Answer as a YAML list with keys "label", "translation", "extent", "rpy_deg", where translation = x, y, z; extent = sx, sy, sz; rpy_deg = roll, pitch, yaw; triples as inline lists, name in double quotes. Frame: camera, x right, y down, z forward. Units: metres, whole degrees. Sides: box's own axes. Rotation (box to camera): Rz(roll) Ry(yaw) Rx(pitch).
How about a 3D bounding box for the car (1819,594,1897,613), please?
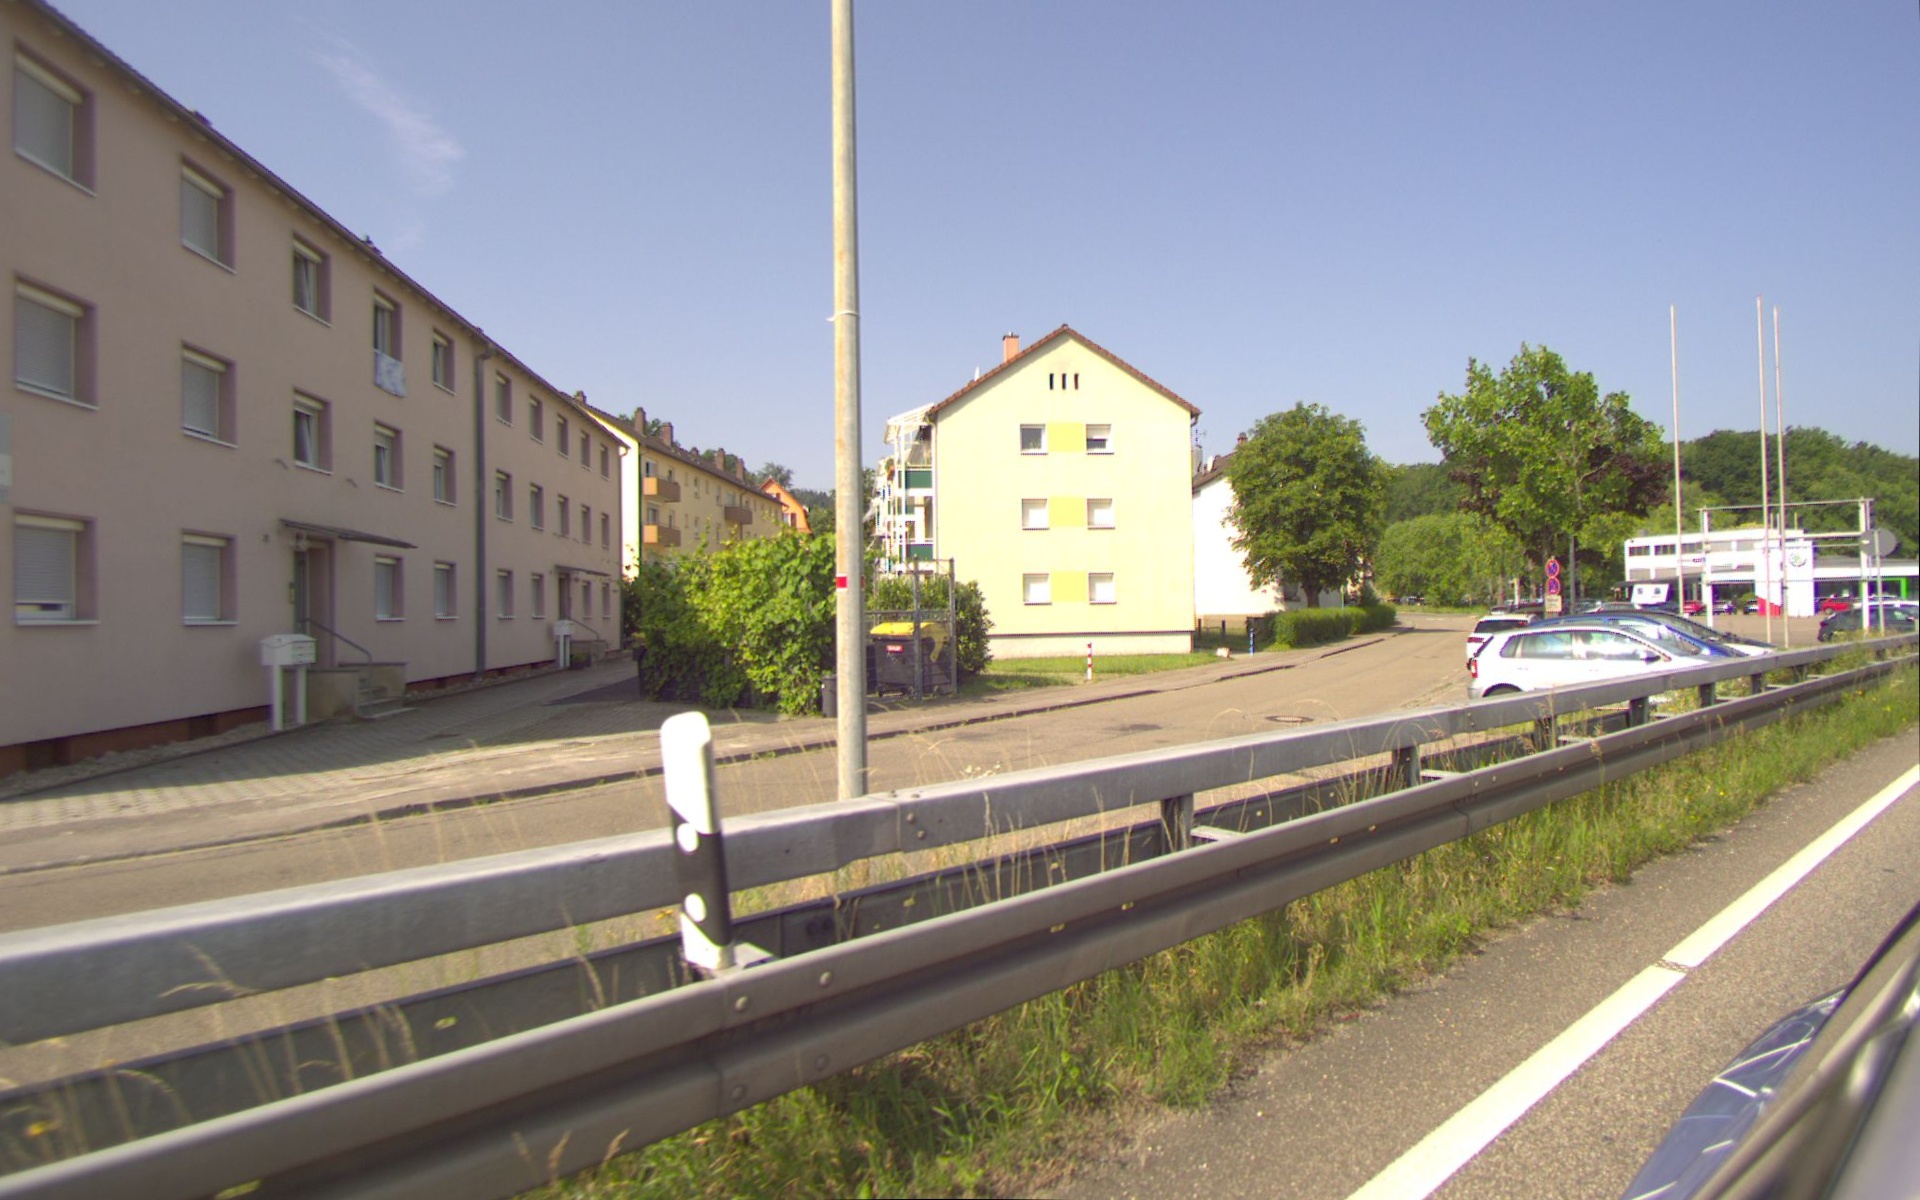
- label: "car"
  translation: [79.005, 0.278, 89.105]
  extent: [1.892, 1.584, 4.759]
  rpy_deg: [-1, 1, -28]

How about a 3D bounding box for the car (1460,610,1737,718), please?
- label: "car"
  translation: [9.411, 0.928, 15.023]
  extent: [3.258, 1.394, 1.527]
  rpy_deg: [-4, -1, 40]

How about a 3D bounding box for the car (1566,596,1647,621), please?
- label: "car"
  translation: [42.711, 0.549, 66.915]
  extent: [4.464, 1.620, 1.820]
  rpy_deg: [0, 0, 33]

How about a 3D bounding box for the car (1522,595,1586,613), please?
- label: "car"
  translation: [52.171, 0.348, 89.000]
  extent: [4.706, 1.477, 1.914]
  rpy_deg: [0, 1, 28]

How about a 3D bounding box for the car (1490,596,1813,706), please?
- label: "car"
  translation: [11.538, 0.895, 17.084]
  extent: [4.225, 1.593, 1.891]
  rpy_deg: [-5, -3, 40]

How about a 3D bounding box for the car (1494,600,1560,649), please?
- label: "car"
  translation: [18.535, 0.752, 32.991]
  extent: [1.696, 1.423, 4.434]
  rpy_deg: [0, 0, 31]

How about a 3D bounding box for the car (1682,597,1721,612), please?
- label: "car"
  translation: [80.875, 0.498, 110.383]
  extent: [4.522, 1.565, 2.004]
  rpy_deg: [-1, 1, -34]

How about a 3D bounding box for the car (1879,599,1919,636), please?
- label: "car"
  translation: [39.468, 0.699, 40.083]
  extent: [1.598, 1.462, 4.333]
  rpy_deg: [-1, 0, -36]

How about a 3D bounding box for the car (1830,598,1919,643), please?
- label: "car"
  translation: [32.964, 0.688, 34.830]
  extent: [1.845, 1.502, 4.165]
  rpy_deg: [-1, -1, -32]

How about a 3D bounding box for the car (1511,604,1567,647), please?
- label: "car"
  translation: [21.133, 0.899, 36.879]
  extent: [1.696, 1.423, 3.622]
  rpy_deg: [0, 0, 31]

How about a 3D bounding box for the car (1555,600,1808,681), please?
- label: "car"
  translation: [14.508, 0.750, 20.562]
  extent: [4.046, 1.470, 1.706]
  rpy_deg: [0, 0, 37]

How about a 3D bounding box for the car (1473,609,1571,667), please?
- label: "car"
  translation: [15.344, 0.962, 27.518]
  extent: [1.778, 1.438, 4.380]
  rpy_deg: [0, 0, 36]

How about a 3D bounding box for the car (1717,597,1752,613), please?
- label: "car"
  translation: [82.484, 0.511, 107.793]
  extent: [4.528, 1.565, 2.001]
  rpy_deg: [-1, 1, -39]

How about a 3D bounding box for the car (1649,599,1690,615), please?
- label: "car"
  translation: [75.976, 0.747, 108.401]
  extent: [4.372, 1.565, 1.842]
  rpy_deg: [-1, 1, -28]

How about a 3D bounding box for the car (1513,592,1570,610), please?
- label: "car"
  translation: [56.547, 0.102, 98.504]
  extent: [4.718, 1.654, 1.909]
  rpy_deg: [1, 1, 34]

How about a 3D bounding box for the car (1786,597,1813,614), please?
- label: "car"
  translation: [85.947, 0.518, 103.581]
  extent: [1.996, 1.565, 4.540]
  rpy_deg: [1, 1, 42]

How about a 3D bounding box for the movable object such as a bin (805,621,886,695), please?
- label: "movable object such as a bin"
  translation: [-2.332, 1.166, 20.700]
  extent: [1.264, 1.422, 1.086]
  rpy_deg: [0, 0, 31]

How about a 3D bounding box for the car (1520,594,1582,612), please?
- label: "car"
  translation: [53.393, 0.263, 91.505]
  extent: [4.706, 1.608, 1.914]
  rpy_deg: [0, 1, 28]

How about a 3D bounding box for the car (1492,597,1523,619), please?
- label: "car"
  translation: [40.053, 0.561, 73.960]
  extent: [1.773, 1.493, 3.943]
  rpy_deg: [0, 0, 32]

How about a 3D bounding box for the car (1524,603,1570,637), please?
- label: "car"
  translation: [25.626, 0.833, 44.113]
  extent: [1.643, 1.384, 3.622]
  rpy_deg: [0, 0, 31]

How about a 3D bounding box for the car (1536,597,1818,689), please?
- label: "car"
  translation: [13.092, 0.828, 18.628]
  extent: [3.983, 1.468, 1.738]
  rpy_deg: [-5, -3, 42]

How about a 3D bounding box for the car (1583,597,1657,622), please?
- label: "car"
  translation: [41.196, 0.576, 63.243]
  extent: [3.734, 1.541, 1.639]
  rpy_deg: [0, 0, 31]

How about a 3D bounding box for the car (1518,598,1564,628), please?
- label: "car"
  translation: [29.599, 0.621, 51.493]
  extent: [1.899, 1.423, 4.474]
  rpy_deg: [0, 0, 31]

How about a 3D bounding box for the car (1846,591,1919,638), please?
- label: "car"
  translation: [35.214, 0.508, 36.560]
  extent: [2.096, 1.660, 4.340]
  rpy_deg: [-1, 0, -26]

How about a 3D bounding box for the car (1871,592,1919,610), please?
- label: "car"
  translation: [88.964, 0.100, 95.015]
  extent: [1.892, 1.584, 4.759]
  rpy_deg: [-1, 1, -28]

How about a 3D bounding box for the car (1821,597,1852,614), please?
- label: "car"
  translation: [88.267, 0.510, 101.922]
  extent: [1.992, 1.565, 4.550]
  rpy_deg: [1, 1, 36]
